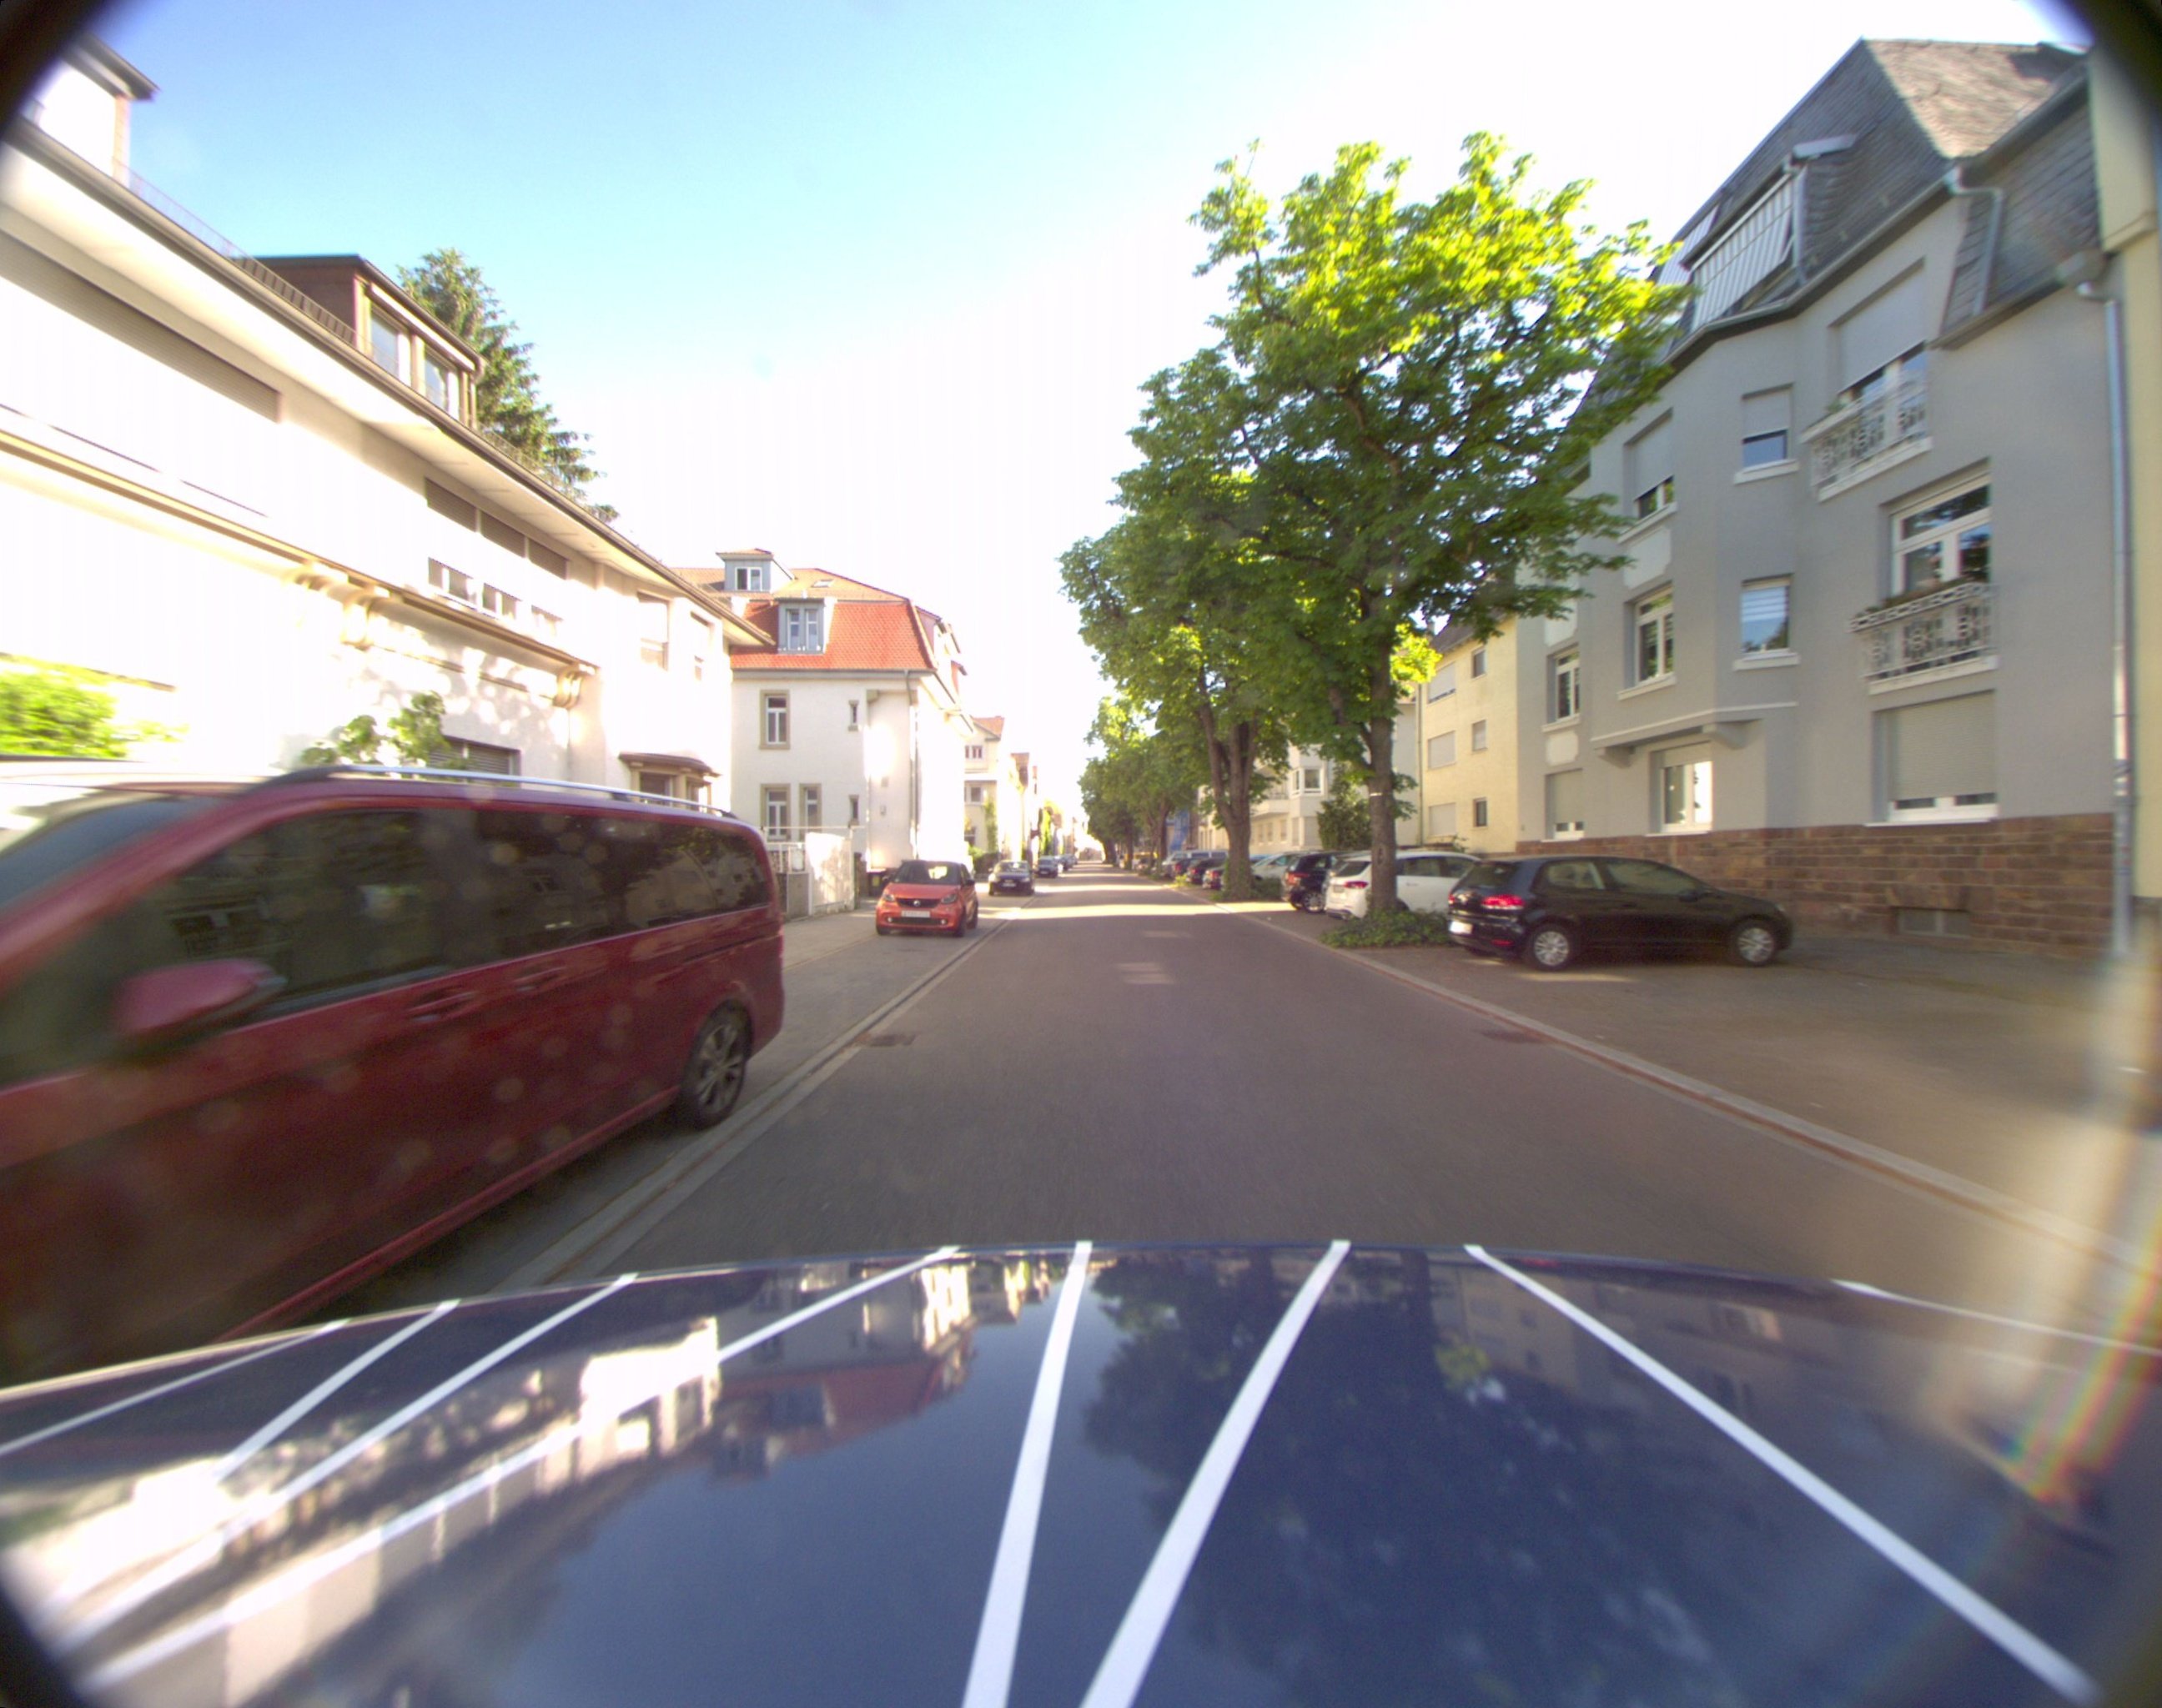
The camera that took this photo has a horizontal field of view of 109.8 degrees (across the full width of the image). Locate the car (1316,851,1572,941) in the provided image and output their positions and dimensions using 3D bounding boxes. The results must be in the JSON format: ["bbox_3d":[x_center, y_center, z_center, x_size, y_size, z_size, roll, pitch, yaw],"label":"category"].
[{"bbox_3d":[6.841,0.757,14.629,4.033,1.476,1.807,-2,0,0],"label":"car"}]

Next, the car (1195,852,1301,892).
[{"bbox_3d":[6.937,0.722,31.772,3.997,1.583,1.878,0,0,-1],"label":"car"}]

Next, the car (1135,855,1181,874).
[{"bbox_3d":[7.174,0.937,71.014,3.883,1.505,1.831,-3,1,-8],"label":"car"}]

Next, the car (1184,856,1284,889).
[{"bbox_3d":[6.961,0.827,34.798,4.197,1.490,1.861,0,0,-1],"label":"car"}]

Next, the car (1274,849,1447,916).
[{"bbox_3d":[7.205,0.720,19.908,3.872,1.566,1.848,-2,0,3],"label":"car"}]

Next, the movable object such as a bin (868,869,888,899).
[{"bbox_3d":[-7.658,1.127,28.700,0.557,1.056,0.696,-2,2,-3],"label":"movable object such as a bin"}]

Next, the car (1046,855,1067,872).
[{"bbox_3d":[-2.207,0.860,69.722,1.713,1.428,4.192,2,1,0],"label":"car"}]

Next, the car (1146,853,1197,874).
[{"bbox_3d":[6.814,0.700,57.192,3.652,1.454,1.710,-2,1,2],"label":"car"}]

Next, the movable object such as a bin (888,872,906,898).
[{"bbox_3d":[-6.974,1.154,28.785,0.487,0.931,0.653,-2,2,-3],"label":"movable object such as a bin"}]

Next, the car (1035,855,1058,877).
[{"bbox_3d":[-2.649,0.858,57.940,1.667,1.511,4.000,1,1,-3],"label":"car"}]

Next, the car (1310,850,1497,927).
[{"bbox_3d":[7.324,0.741,17.480,3.525,1.566,1.770,-2,0,-4],"label":"car"}]

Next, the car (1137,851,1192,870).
[{"bbox_3d":[7.389,0.536,67.185,4.601,1.598,1.832,-1,0,-2],"label":"car"}]

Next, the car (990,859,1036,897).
[{"bbox_3d":[-2.791,0.950,31.946,1.624,1.431,3.934,2,0,-1],"label":"car"}]

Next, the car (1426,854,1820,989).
[{"bbox_3d":[7.047,0.815,10.170,4.034,1.436,1.799,-2,1,-3],"label":"car"}]

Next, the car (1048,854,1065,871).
[{"bbox_3d":[-2.400,0.800,74.689,1.579,1.540,3.468,1,1,0],"label":"car"}]

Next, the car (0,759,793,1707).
[{"bbox_3d":[-3.006,0.736,2.674,1.876,1.894,5.197,1,1,2],"label":"car"}]

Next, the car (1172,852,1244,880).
[{"bbox_3d":[7.357,0.701,44.240,3.954,1.490,1.662,-1,0,3],"label":"car"}]

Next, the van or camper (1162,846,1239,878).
[{"bbox_3d":[7.341,0.463,47.014,4.508,1.903,1.964,-1,1,0],"label":"van or camper"}]

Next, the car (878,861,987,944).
[{"bbox_3d":[-3.000,0.924,15.917,1.596,1.472,3.247,2,0,0],"label":"car"}]

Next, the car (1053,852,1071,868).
[{"bbox_3d":[-2.141,0.672,86.699,1.782,1.686,4.319,-2,1,1],"label":"car"}]

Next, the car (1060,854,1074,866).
[{"bbox_3d":[-1.956,0.806,105.929,1.872,1.635,4.199,0,0,1],"label":"car"}]

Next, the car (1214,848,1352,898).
[{"bbox_3d":[7.085,0.649,26.944,4.397,1.642,1.823,-1,0,2],"label":"car"}]

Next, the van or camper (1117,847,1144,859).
[{"bbox_3d":[7.677,-0.122,117.794,3.954,1.763,1.809,-1,-1,0],"label":"van or camper"}]

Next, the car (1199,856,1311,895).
[{"bbox_3d":[6.719,0.823,29.625,3.997,1.460,1.697,0,0,0],"label":"car"}]
